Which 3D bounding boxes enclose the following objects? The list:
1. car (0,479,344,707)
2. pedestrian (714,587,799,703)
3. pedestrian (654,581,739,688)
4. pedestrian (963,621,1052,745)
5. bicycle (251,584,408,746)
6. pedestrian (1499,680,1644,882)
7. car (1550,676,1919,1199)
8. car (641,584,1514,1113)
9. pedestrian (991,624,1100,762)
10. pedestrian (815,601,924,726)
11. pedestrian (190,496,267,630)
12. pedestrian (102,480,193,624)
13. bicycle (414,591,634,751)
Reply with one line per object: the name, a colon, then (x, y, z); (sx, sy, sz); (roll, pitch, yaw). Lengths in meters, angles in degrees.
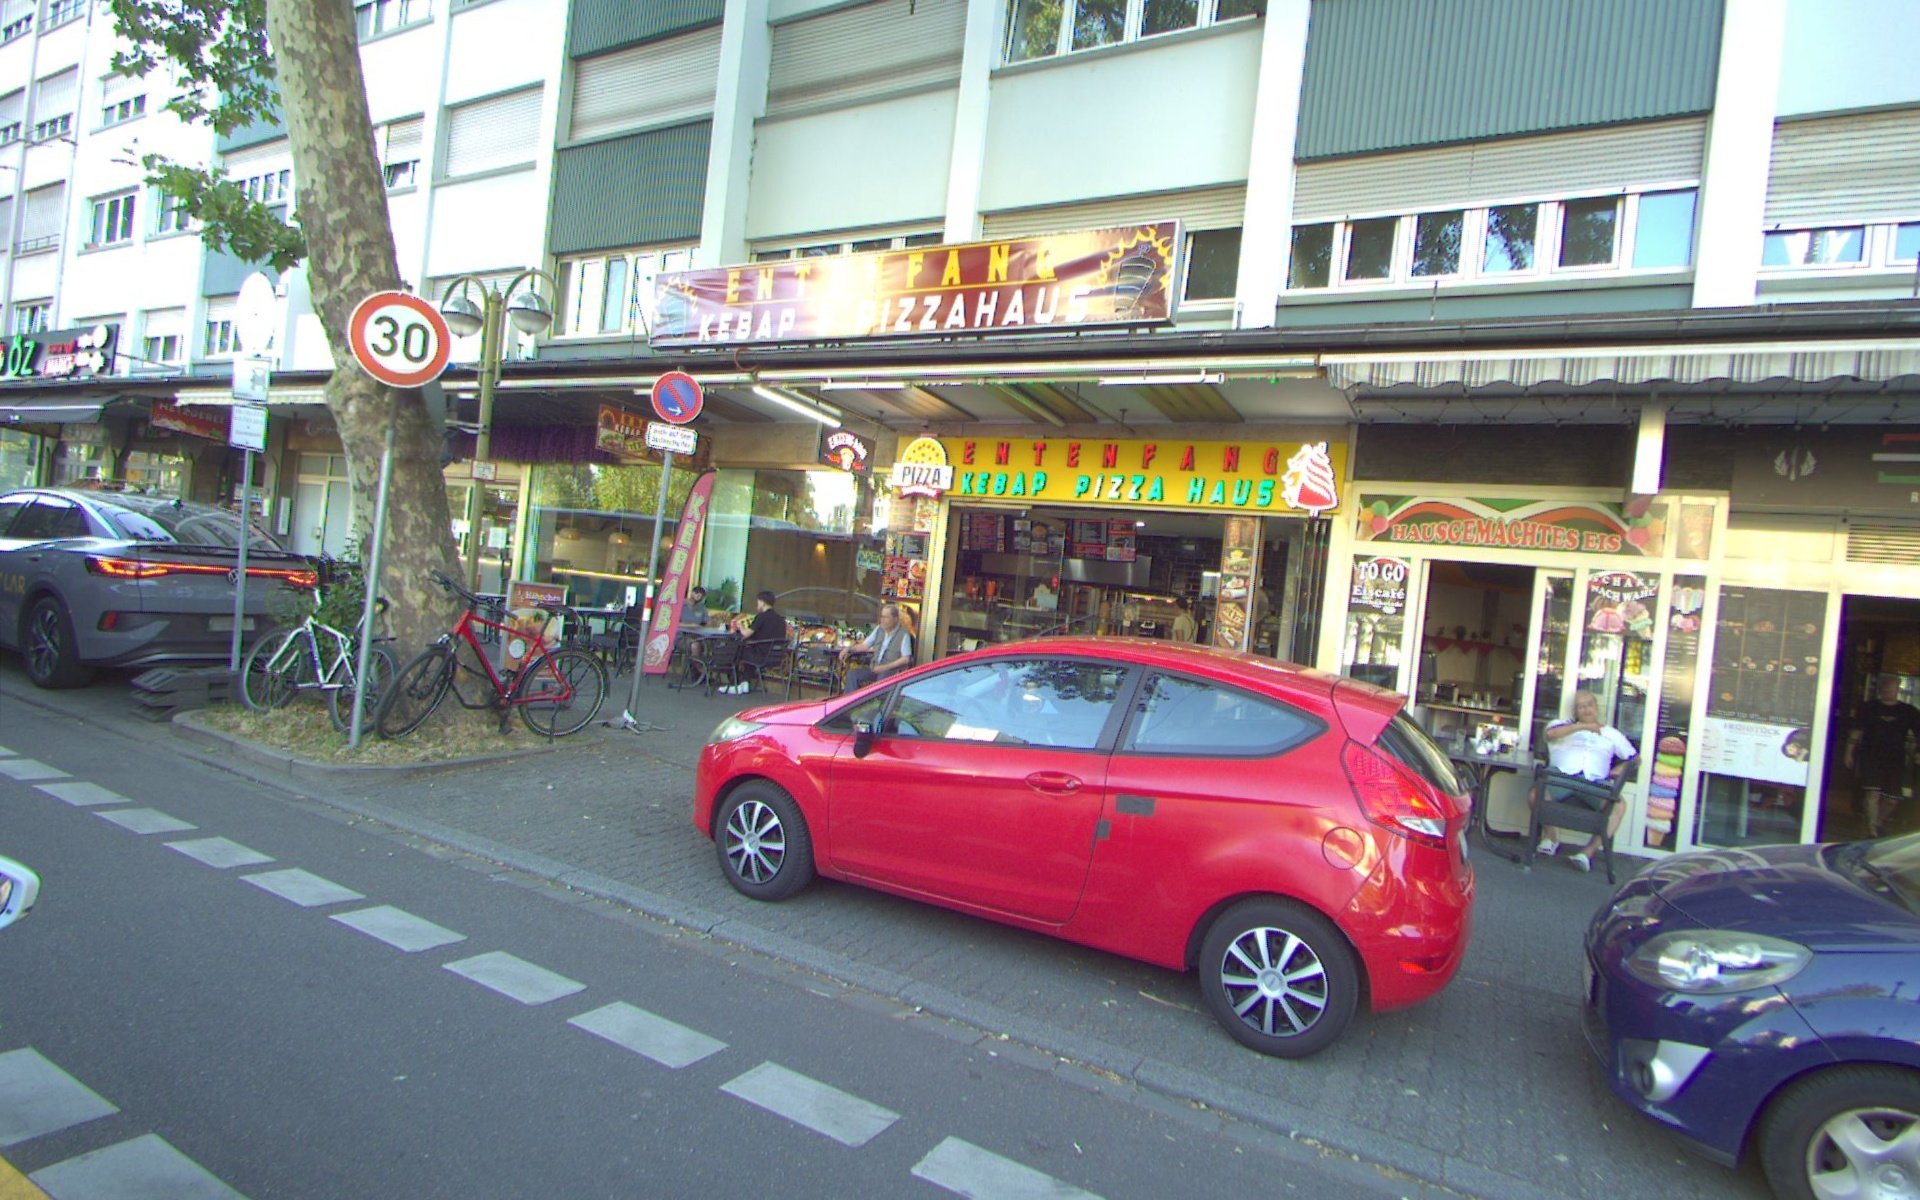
car: (-7.839, -0.195, 9.211); (4.223, 1.619, 1.742); (7, 2, 27)
pedestrian: (-2.388, 0.518, 11.795); (0.701, 1.260, 0.614); (7, 3, 41)
pedestrian: (-3.233, 0.416, 12.359); (0.694, 1.220, 0.675); (7, 3, 42)
pedestrian: (0.495, 0.833, 10.378); (0.585, 1.172, 0.671); (6, 3, 31)
bicycle: (-4.443, 0.433, 7.077); (1.110, 0.941, 0.295); (9, 6, 21)
pedestrian: (4.639, 1.303, 7.619); (0.767, 1.249, 1.202); (6, 3, 33)
car: (3.877, 1.229, 2.909); (3.543, 1.485, 1.620); (7, 2, 29)
car: (0.479, 0.853, 4.991); (3.780, 1.448, 1.668); (7, 2, 27)
pedestrian: (0.805, 0.843, 9.427); (0.740, 1.172, 0.593); (6, 3, 33)
pedestrian: (-0.976, 0.670, 10.863); (0.861, 1.237, 0.688); (2, 3, -44)
pedestrian: (-11.675, -0.586, 16.058); (0.684, 2.038, 0.613); (7, 1, 29)
pedestrian: (-12.163, -0.704, 15.064); (0.684, 2.038, 0.692); (7, 1, 27)
bicycle: (-3.231, 0.512, 7.555); (0.291, 1.082, 1.455); (12, 7, 42)
